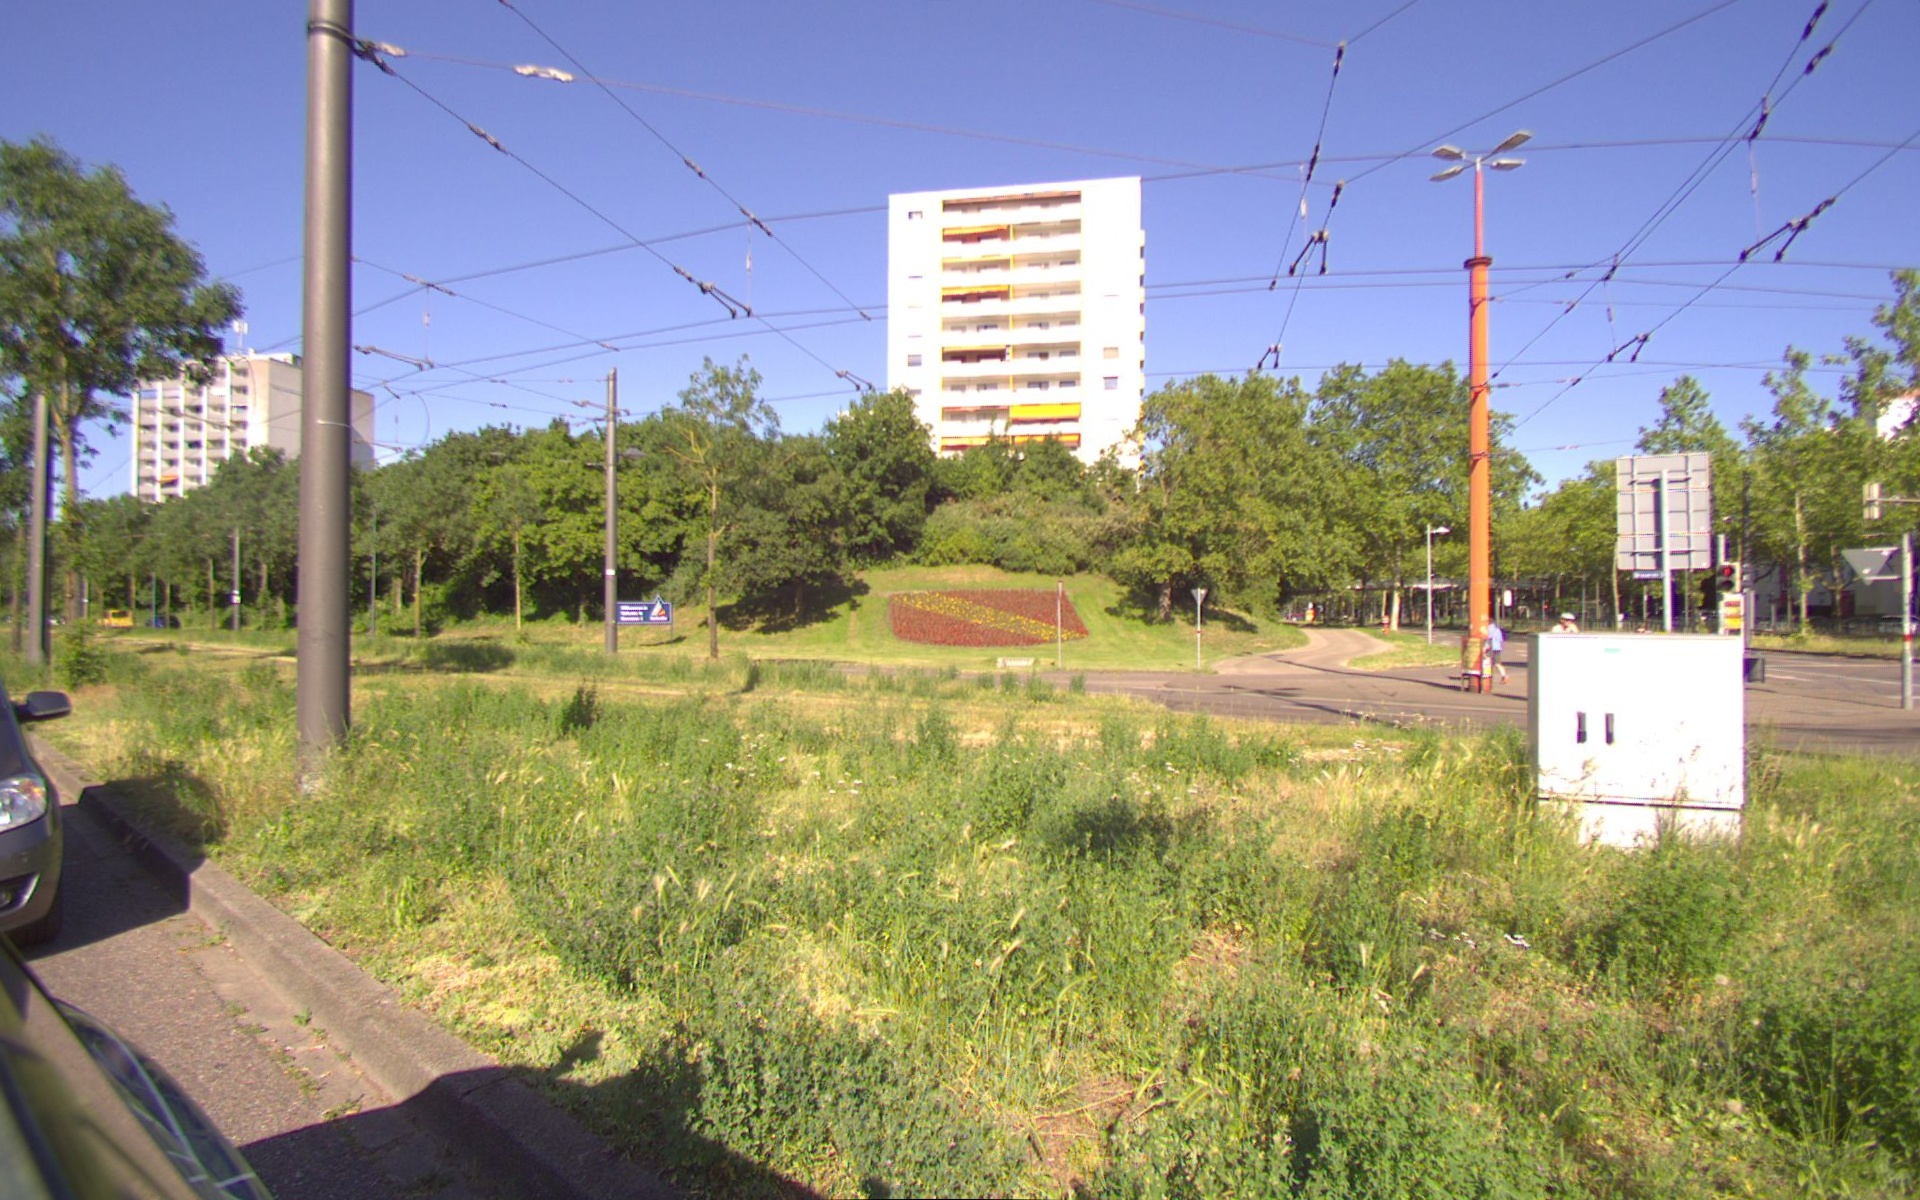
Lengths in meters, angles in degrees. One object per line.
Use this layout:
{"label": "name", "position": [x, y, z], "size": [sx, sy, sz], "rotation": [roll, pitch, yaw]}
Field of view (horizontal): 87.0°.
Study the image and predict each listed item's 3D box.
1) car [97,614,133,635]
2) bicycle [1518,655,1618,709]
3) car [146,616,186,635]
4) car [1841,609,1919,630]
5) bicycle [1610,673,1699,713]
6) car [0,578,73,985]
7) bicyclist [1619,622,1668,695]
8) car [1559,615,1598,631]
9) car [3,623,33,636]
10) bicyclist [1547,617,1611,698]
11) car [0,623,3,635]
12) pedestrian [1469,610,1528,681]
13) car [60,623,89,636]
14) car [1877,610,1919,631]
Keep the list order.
{"label": "car", "position": [-81.329, 2.384, 97.390], "size": [4.904, 1.981, 1.973], "rotation": [-1, -2, 41]}
{"label": "bicycle", "position": [12.147, 1.626, 20.277], "size": [0.673, 0.968, 1.650], "rotation": [0, -1, -20]}
{"label": "car", "position": [-68.576, 2.178, 87.393], "size": [4.105, 1.586, 1.972], "rotation": [-1, -2, 41]}
{"label": "car", "position": [65.873, 1.387, 72.388], "size": [1.770, 1.420, 4.010], "rotation": [1, -1, -36]}
{"label": "bicycle", "position": [13.381, 1.780, 19.537], "size": [0.427, 0.665, 1.426], "rotation": [0, -1, -18]}
{"label": "car", "position": [-5.736, 0.748, 4.846], "size": [3.879, 1.634, 1.737], "rotation": [-1, -2, 41]}
{"label": "bicyclist", "position": [13.331, 1.131, 19.735], "size": [0.435, 1.391, 0.631], "rotation": [0, -2, -20]}
{"label": "car", "position": [79.724, 3.007, 130.489], "size": [3.969, 2.029, 1.987], "rotation": [-1, -1, 20]}
{"label": "car", "position": [-113.237, 3.585, 121.643], "size": [4.231, 1.519, 1.772], "rotation": [-1, -2, 35]}
{"label": "bicyclist", "position": [12.241, 1.115, 20.027], "size": [0.719, 1.557, 0.770], "rotation": [0, -2, -20]}
{"label": "car", "position": [-127.673, 3.800, 133.045], "size": [4.227, 1.519, 1.774], "rotation": [-1, -2, 33]}
{"label": "pedestrian", "position": [14.176, 1.185, 26.665], "size": [0.939, 1.807, 0.991], "rotation": [0, -1, -14]}
{"label": "car", "position": [-95.705, 3.180, 109.368], "size": [3.996, 1.386, 1.758], "rotation": [-1, -2, 39]}
{"label": "car", "position": [64.884, 1.408, 68.406], "size": [1.770, 1.420, 4.010], "rotation": [1, -1, -36]}
